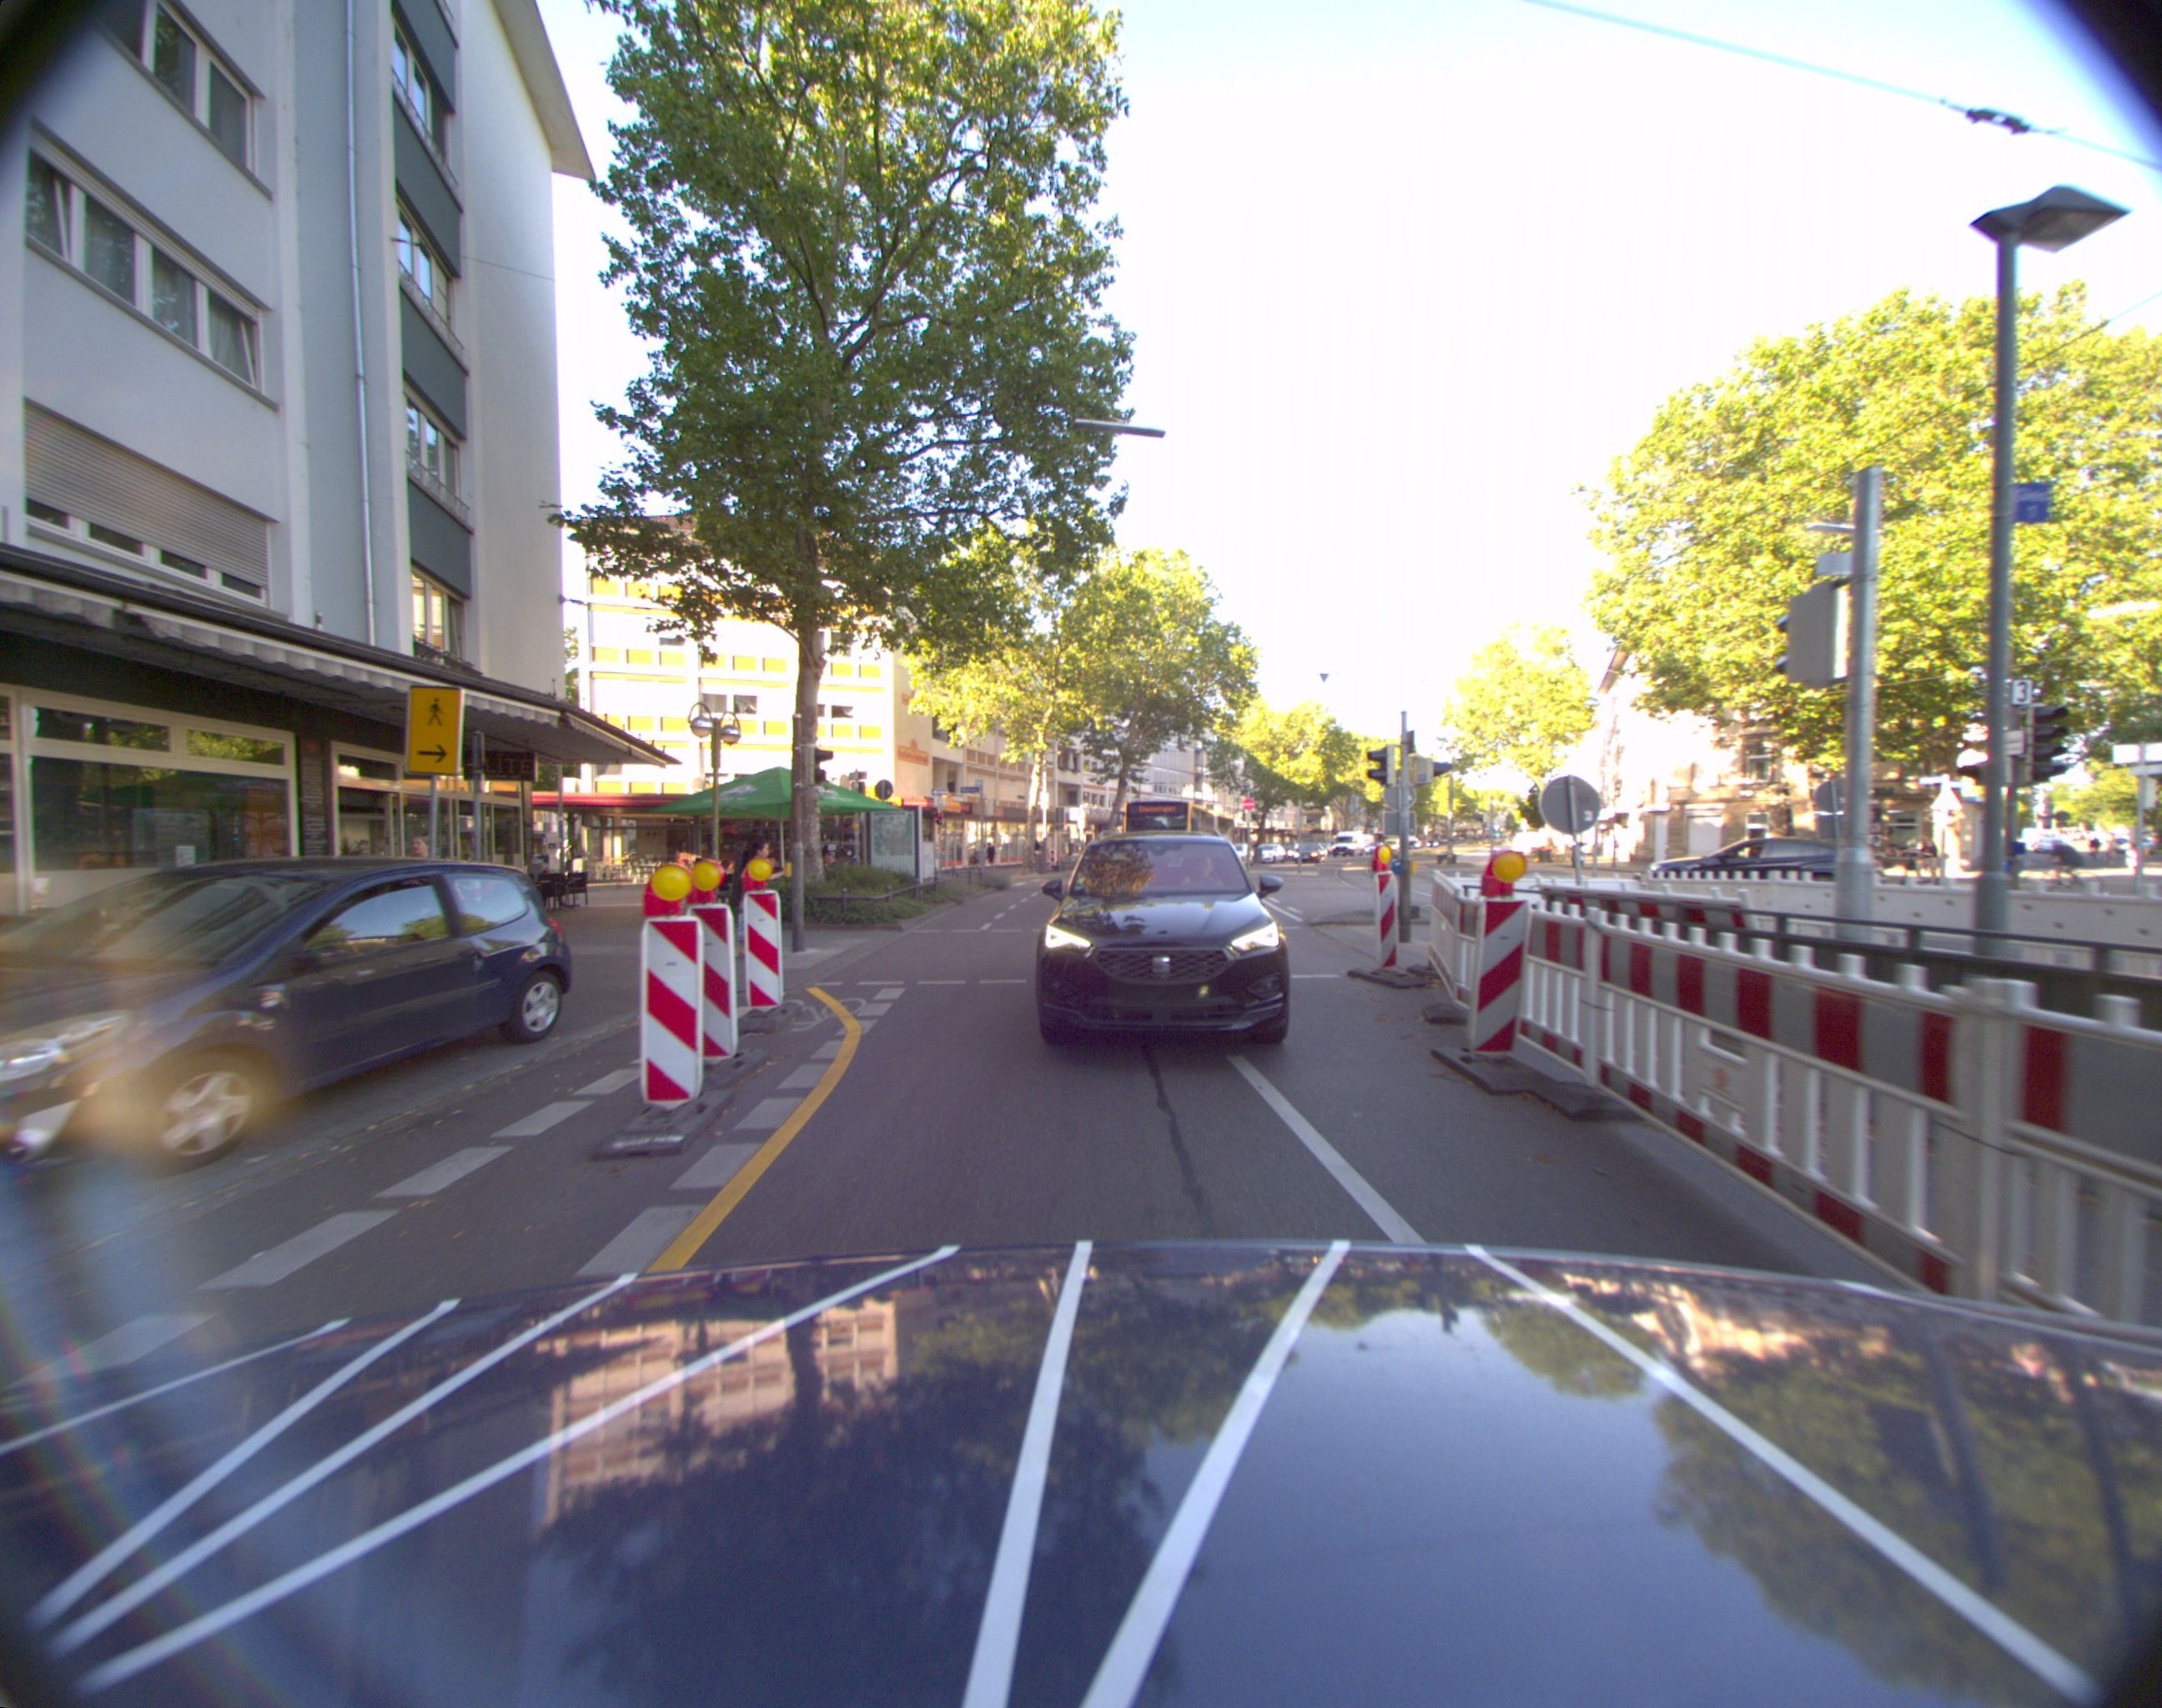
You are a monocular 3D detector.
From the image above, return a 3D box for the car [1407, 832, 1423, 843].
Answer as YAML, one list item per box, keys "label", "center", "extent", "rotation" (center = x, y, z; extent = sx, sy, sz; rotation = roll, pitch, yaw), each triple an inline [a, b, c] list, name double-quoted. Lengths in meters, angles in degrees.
- label: "car"
  center: [52.074, -2.584, 118.435]
  extent: [1.836, 1.792, 4.138]
  rotation: [0, 1, 31]

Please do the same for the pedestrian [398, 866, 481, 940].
- label: "pedestrian"
  center: [-10.732, 0.801, 12.735]
  extent: [0.647, 1.186, 0.792]
  rotation: [0, 2, 8]

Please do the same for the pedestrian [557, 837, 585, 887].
- label: "pedestrian"
  center: [-20.354, 0.308, 30.347]
  extent: [0.887, 1.948, 0.650]
  rotation: [1, 2, 39]

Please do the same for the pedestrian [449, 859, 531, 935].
- label: "pedestrian"
  center: [-9.696, 0.682, 12.474]
  extent: [0.877, 1.186, 0.701]
  rotation: [0, 2, 24]

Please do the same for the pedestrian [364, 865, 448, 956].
- label: "pedestrian"
  center: [-10.290, 0.838, 11.586]
  extent: [0.789, 1.299, 0.701]
  rotation: [1, 2, 29]

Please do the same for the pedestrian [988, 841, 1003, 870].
- label: "pedestrian"
  center: [-4.693, 0.057, 41.634]
  extent: [0.627, 1.577, 0.532]
  rotation: [0, 2, 21]

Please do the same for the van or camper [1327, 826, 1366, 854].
- label: "van or camper"
  center: [27.617, -1.458, 78.962]
  extent: [2.419, 2.703, 6.144]
  rotation: [1, 2, 33]

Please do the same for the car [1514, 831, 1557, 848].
- label: "car"
  center: [53.424, -1.687, 89.295]
  extent: [4.001, 2.002, 1.997]
  rotation: [-1, 1, -12]

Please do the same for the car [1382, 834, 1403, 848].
- label: "car"
  center: [40.809, -1.725, 99.433]
  extent: [1.836, 1.792, 4.138]
  rotation: [0, 1, 31]

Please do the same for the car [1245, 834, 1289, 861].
- label: "car"
  center: [14.218, -0.538, 57.849]
  extent: [1.994, 2.002, 4.008]
  rotation: [1, 2, 34]

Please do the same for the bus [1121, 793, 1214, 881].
- label: "bus"
  center: [3.791, -0.671, 31.196]
  extent: [2.718, 3.088, 8.629]
  rotation: [0, 1, 14]

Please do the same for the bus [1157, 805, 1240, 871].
- label: "bus"
  center: [6.357, -0.842, 39.859]
  extent: [2.717, 3.088, 8.608]
  rotation: [0, 1, 19]

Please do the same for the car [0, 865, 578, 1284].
- label: "car"
  center: [-5.140, 0.891, 4.634]
  extent: [1.771, 1.459, 3.610]
  rotation: [2, 1, -1]

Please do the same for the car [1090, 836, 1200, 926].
- label: "car"
  center: [1.208, 0.456, 15.895]
  extent: [1.998, 1.634, 4.075]
  rotation: [0, 1, 1]

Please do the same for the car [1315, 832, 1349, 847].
- label: "car"
  center: [33.305, -1.917, 100.882]
  extent: [3.994, 2.002, 2.001]
  rotation: [0, 1, 8]

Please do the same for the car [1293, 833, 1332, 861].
- label: "car"
  center: [16.944, -0.529, 55.589]
  extent: [1.995, 2.002, 4.007]
  rotation: [0, 1, 28]

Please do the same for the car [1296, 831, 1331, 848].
- label: "car"
  center: [29.110, -1.833, 95.236]
  extent: [3.994, 2.002, 2.001]
  rotation: [0, 1, 8]

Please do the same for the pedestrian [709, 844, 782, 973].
- label: "pedestrian"
  center: [-4.479, 0.702, 10.188]
  extent: [0.583, 1.637, 0.796]
  rotation: [0, 3, 0]

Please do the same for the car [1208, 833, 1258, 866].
- label: "car"
  center: [9.815, -0.334, 48.897]
  extent: [1.994, 2.002, 4.105]
  rotation: [0, 1, 29]

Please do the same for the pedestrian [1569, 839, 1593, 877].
- label: "pedestrian"
  center: [20.655, 0.163, 31.393]
  extent: [0.603, 1.525, 0.745]
  rotation: [0, 2, 13]

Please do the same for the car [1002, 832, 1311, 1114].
- label: "car"
  center: [0.497, 0.684, 6.562]
  extent: [1.841, 1.696, 3.999]
  rotation: [0, 1, 1]

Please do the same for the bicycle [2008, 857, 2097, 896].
- label: "bicycle"
  center: [28.659, 0.642, 22.456]
  extent: [0.550, 1.059, 1.621]
  rotation: [0, 1, 1]

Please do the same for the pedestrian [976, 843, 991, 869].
- label: "pedestrian"
  center: [-5.373, 0.105, 41.746]
  extent: [0.627, 1.429, 0.532]
  rotation: [0, 2, 21]

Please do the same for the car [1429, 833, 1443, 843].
- label: "car"
  center: [65.472, -2.969, 140.049]
  extent: [1.836, 1.792, 4.138]
  rotation: [0, 1, 31]

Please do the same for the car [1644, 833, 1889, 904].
- label: "car"
  center: [17.868, 0.296, 20.001]
  extent: [2.004, 1.652, 4.545]
  rotation: [-2, 2, -40]

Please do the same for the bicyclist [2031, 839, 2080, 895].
- label: "bicyclist"
  center: [28.658, 0.371, 22.355]
  extent: [0.551, 1.605, 0.643]
  rotation: [0, 2, 1]

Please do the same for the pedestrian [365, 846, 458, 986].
- label: "pedestrian"
  center: [-8.072, 0.725, 9.184]
  extent: [0.629, 1.628, 0.531]
  rotation: [-1, 2, -14]

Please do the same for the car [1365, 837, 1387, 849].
- label: "car"
  center: [34.517, -1.301, 88.847]
  extent: [1.700, 1.462, 3.771]
  rotation: [0, 1, 31]
